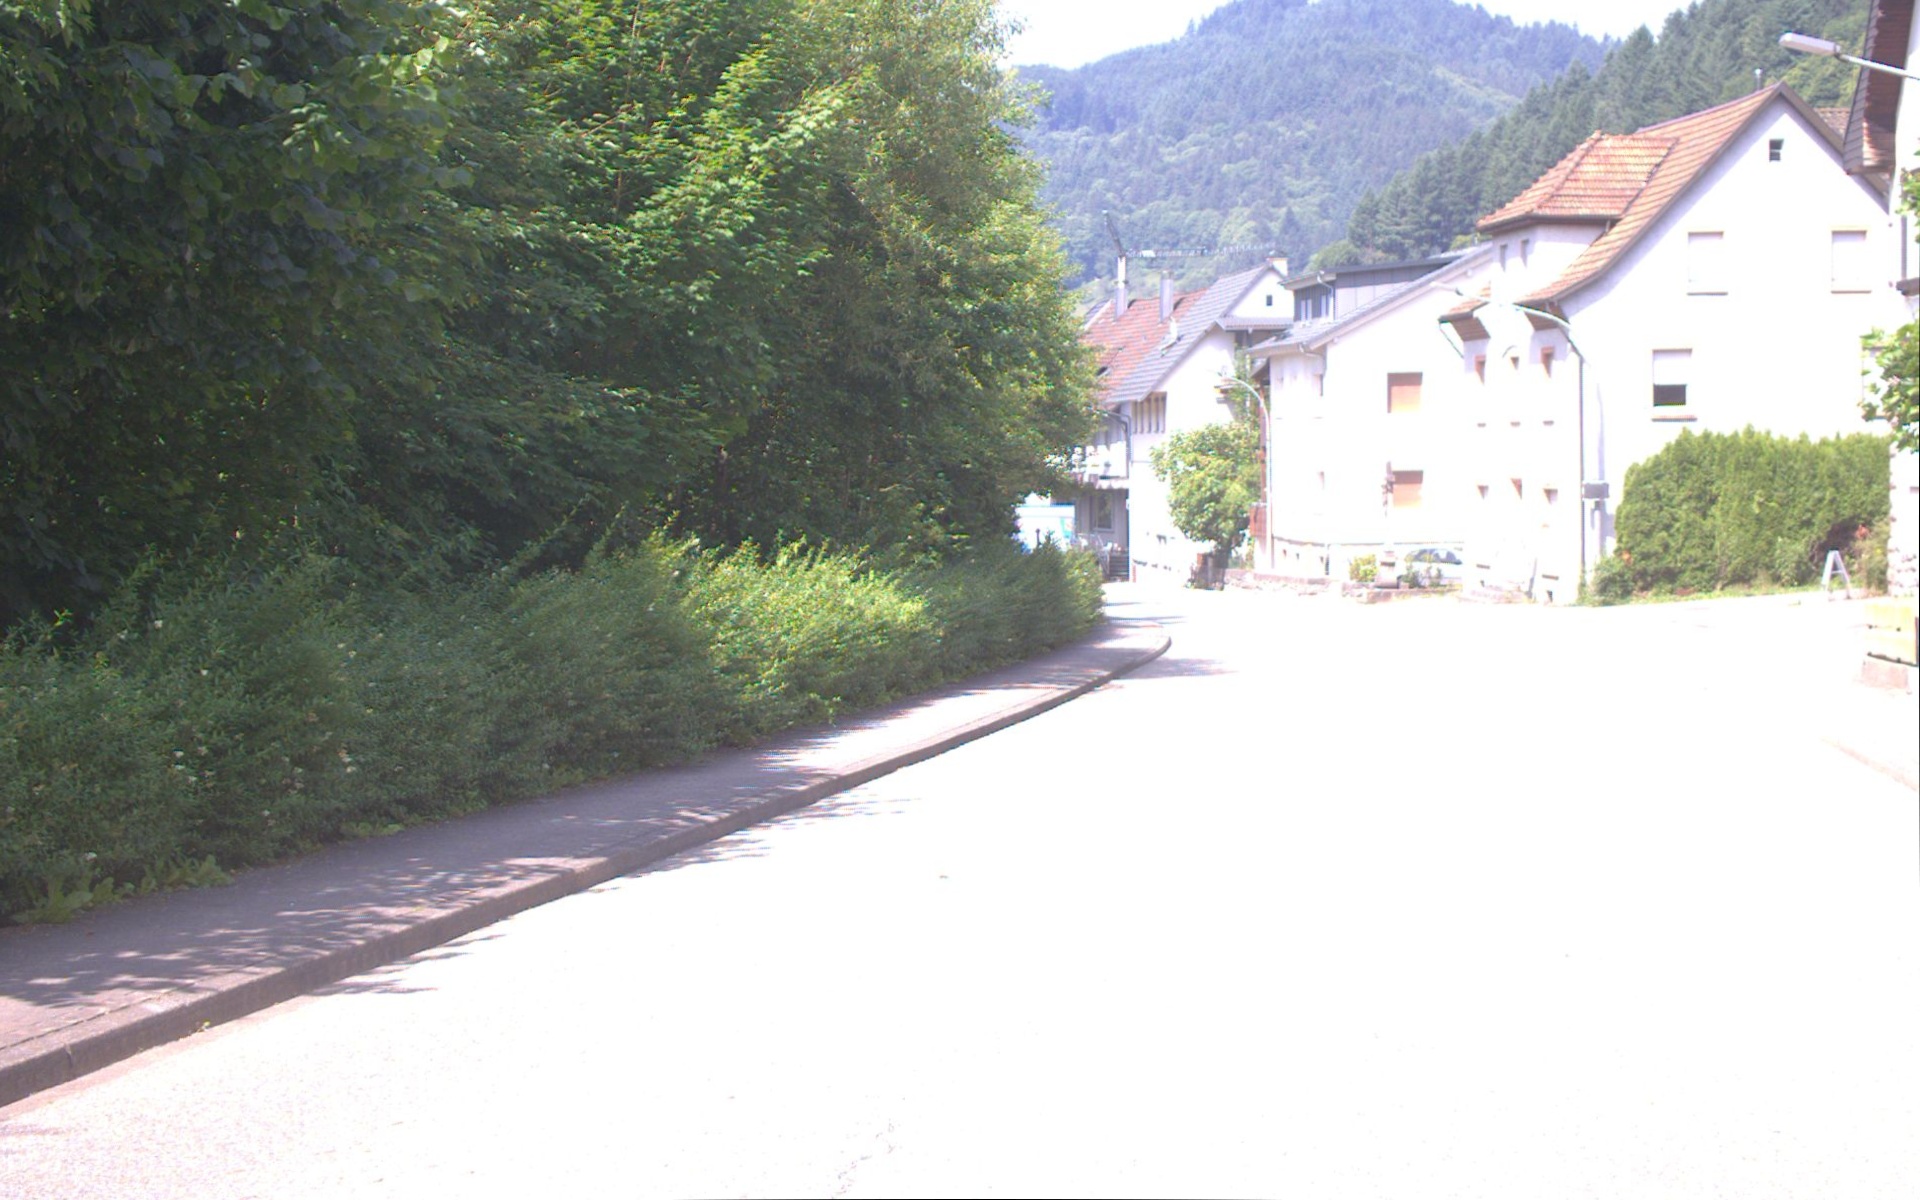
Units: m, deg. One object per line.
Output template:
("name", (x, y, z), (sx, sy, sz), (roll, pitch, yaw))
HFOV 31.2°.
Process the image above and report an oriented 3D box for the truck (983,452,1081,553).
("truck", (3.063, -4.176, 149.352), (3.363, 3.769, 8.441), (-5, 0, -3))
